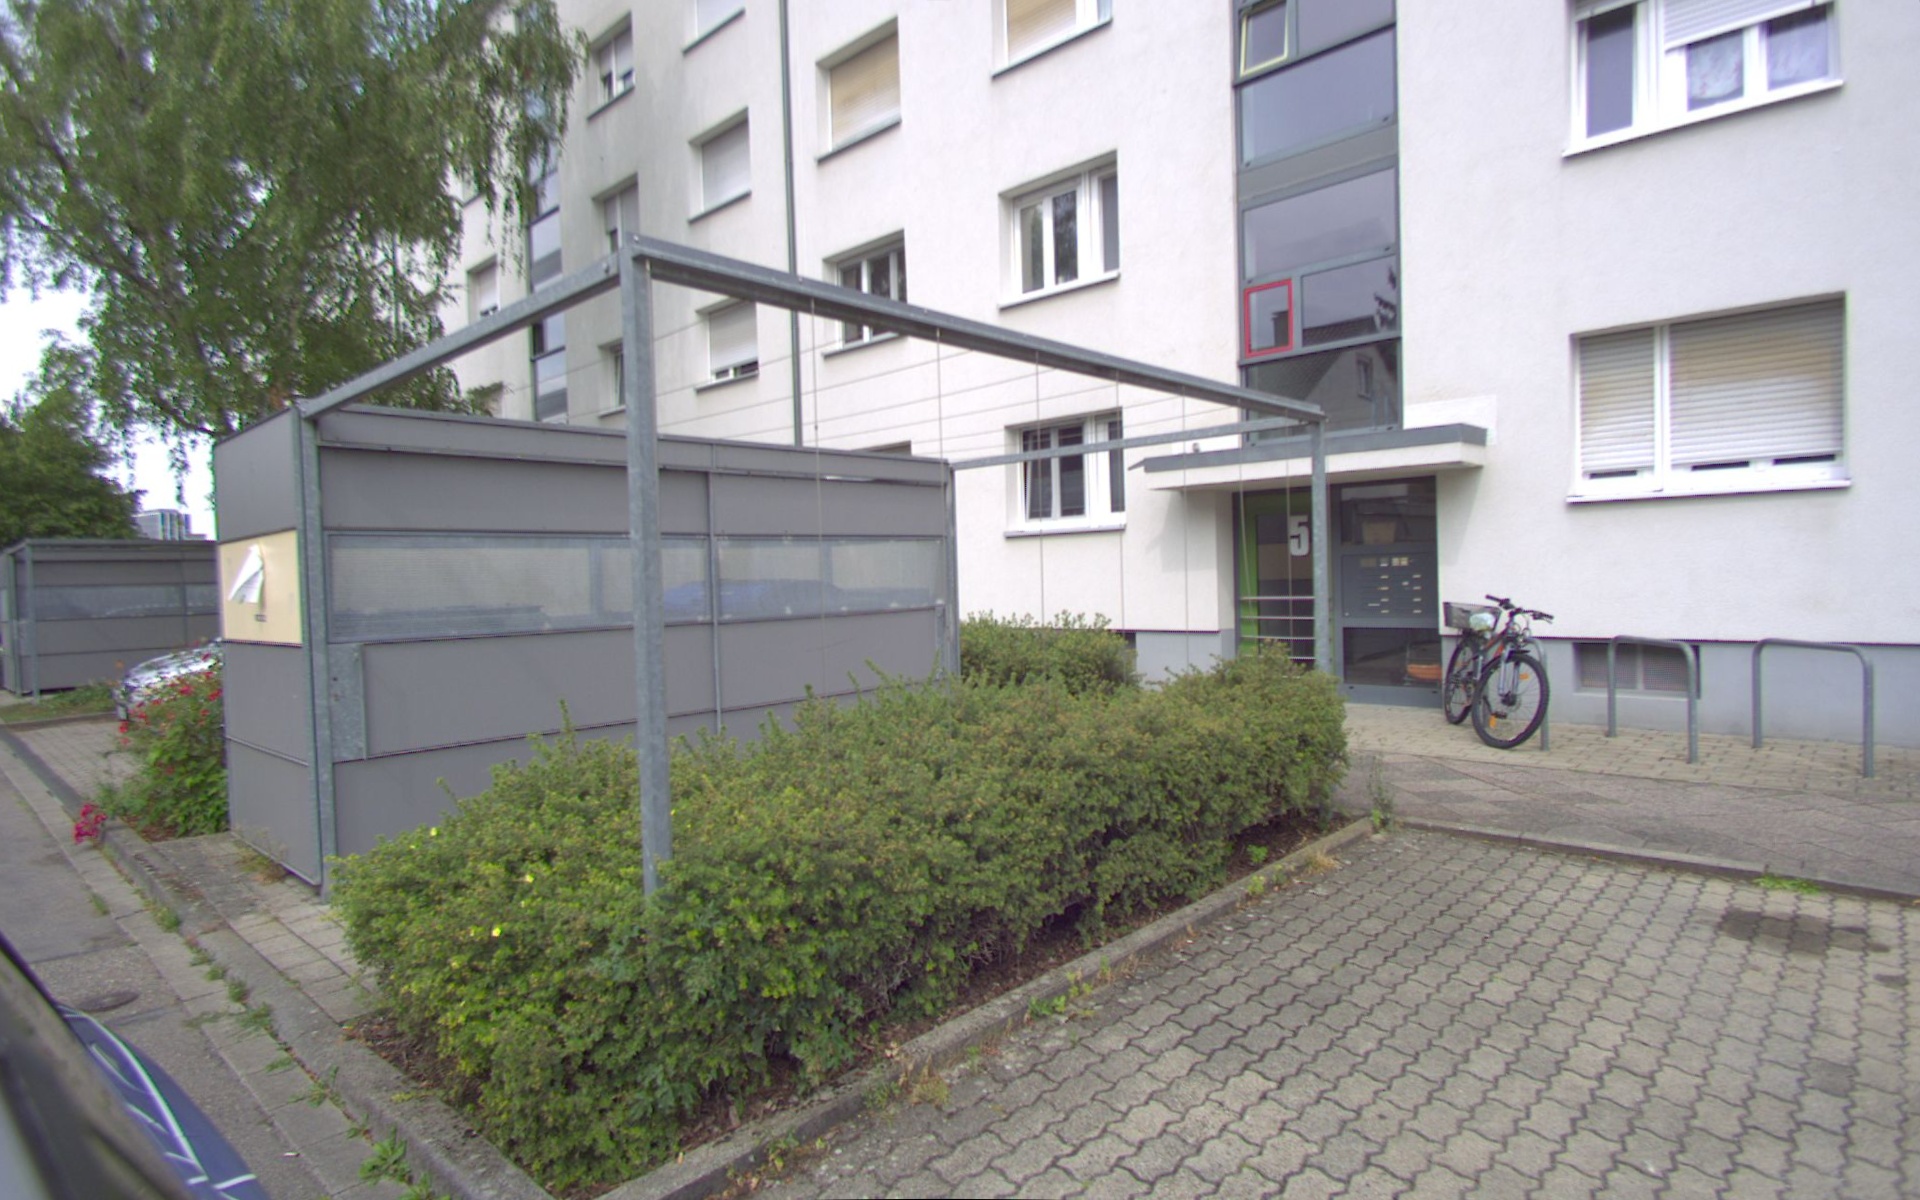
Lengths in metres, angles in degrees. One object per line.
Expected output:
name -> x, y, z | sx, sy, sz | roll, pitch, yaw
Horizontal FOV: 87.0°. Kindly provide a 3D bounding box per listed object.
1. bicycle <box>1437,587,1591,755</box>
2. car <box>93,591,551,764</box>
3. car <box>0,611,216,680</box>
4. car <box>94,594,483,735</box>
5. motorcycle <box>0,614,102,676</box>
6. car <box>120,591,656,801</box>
bicycle -> 4.218, 0.491, 7.817 | 0.475, 1.161, 1.537 | -1, 0, 7
car -> -6.959, 0.706, 11.347 | 1.782, 1.516, 4.008 | -1, 1, 42
car -> -20.633, 1.045, 24.523 | 1.903, 1.497, 3.942 | -1, -1, 44
car -> -8.779, 0.731, 13.489 | 1.782, 1.516, 4.008 | -1, 1, 42
motorcycle -> -22.698, 1.090, 24.893 | 0.714, 1.475, 2.351 | -1, -1, 42
car -> -5.129, 0.695, 9.485 | 1.782, 1.475, 4.008 | -1, 1, 42
